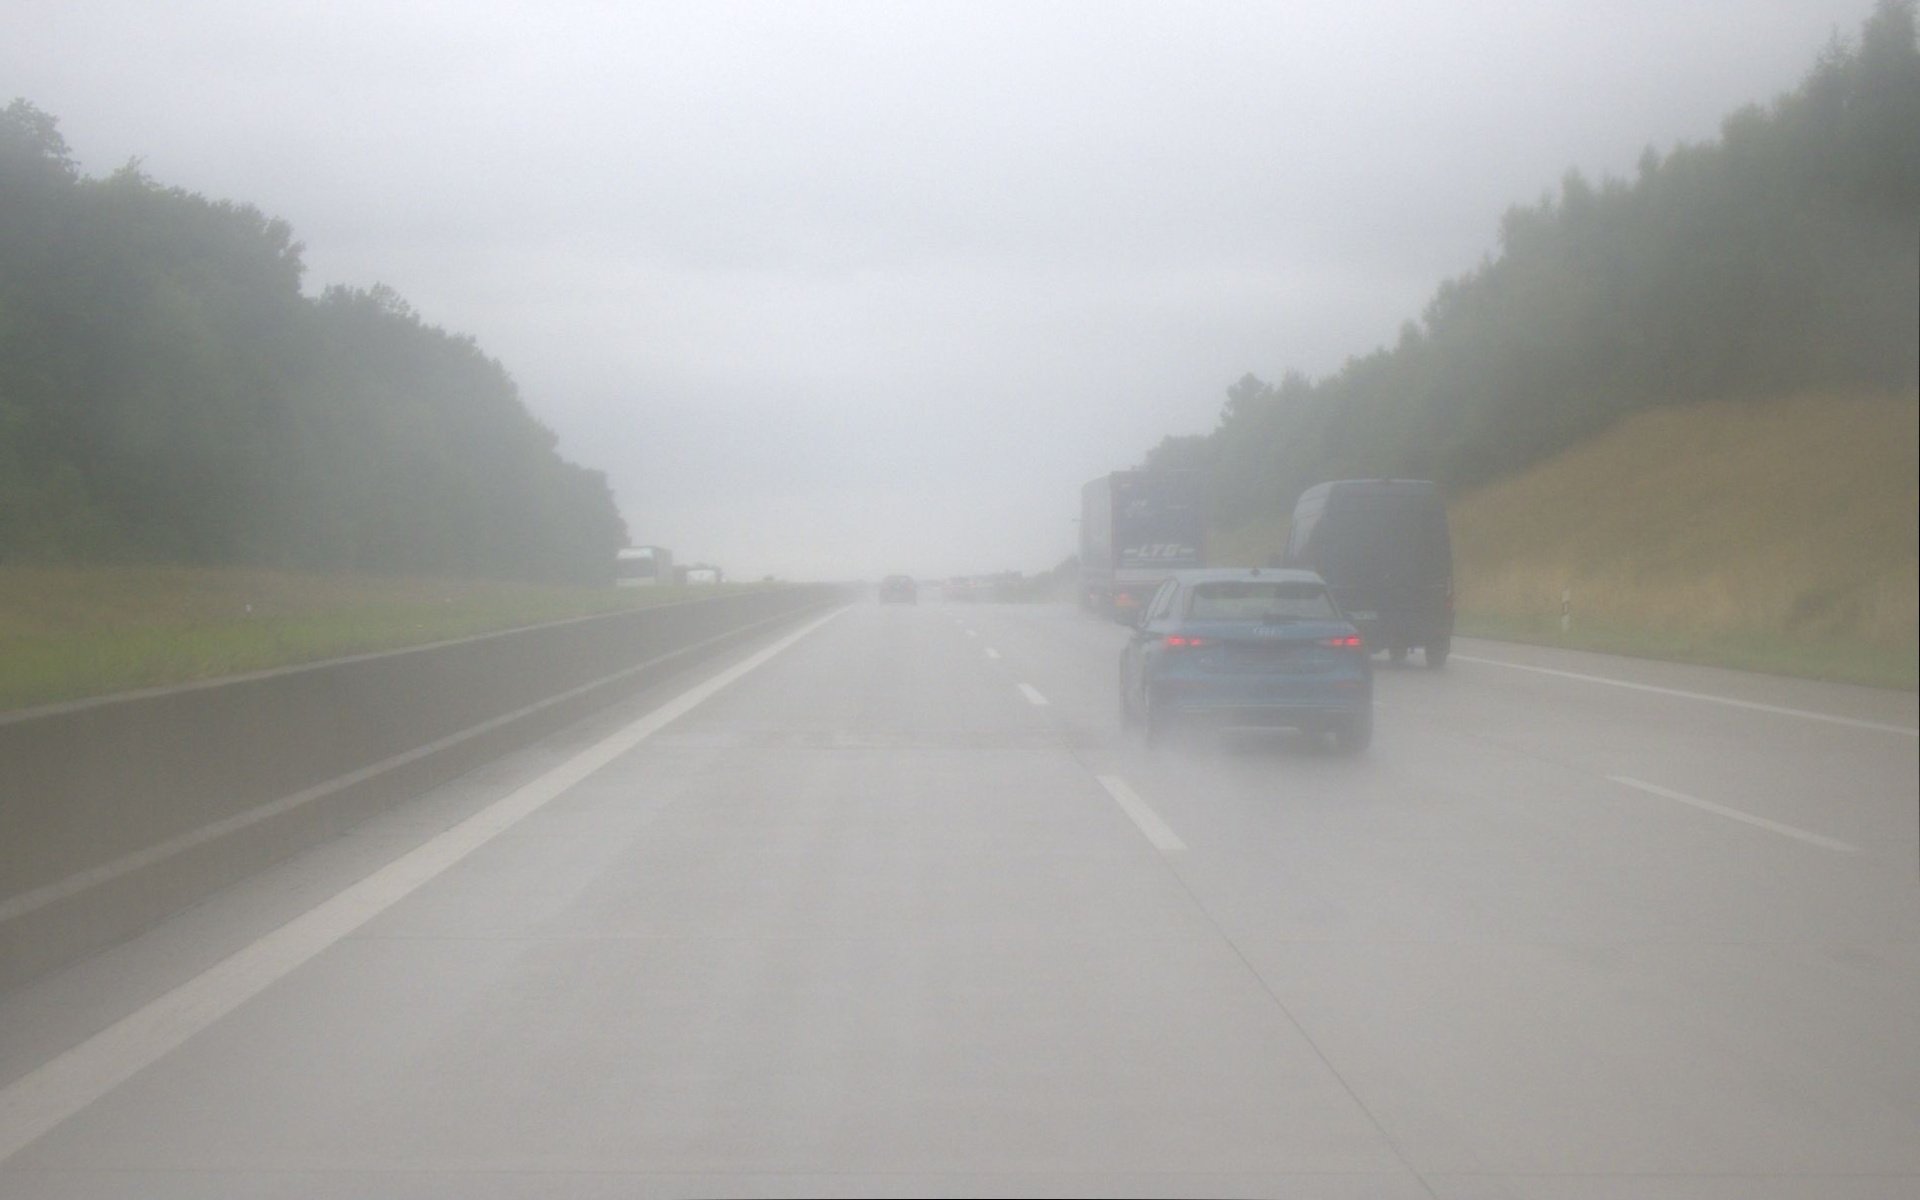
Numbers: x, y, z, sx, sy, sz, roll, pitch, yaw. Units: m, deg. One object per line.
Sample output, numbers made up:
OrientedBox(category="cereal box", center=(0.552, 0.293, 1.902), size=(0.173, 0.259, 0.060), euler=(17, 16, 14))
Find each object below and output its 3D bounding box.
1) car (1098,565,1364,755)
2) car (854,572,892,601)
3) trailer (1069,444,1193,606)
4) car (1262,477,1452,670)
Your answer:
OrientedBox(category="car", center=(2.202, 0.502, 29.042), size=(1.729, 1.454, 4.672), euler=(-1, -1, -2))
OrientedBox(category="car", center=(-4.053, -0.646, 160.290), size=(1.729, 1.326, 4.430), euler=(0, 0, -2))
OrientedBox(category="trailer", center=(4.887, -2.017, 101.282), size=(2.706, 4.365, 15.204), euler=(1, 0, -1))
OrientedBox(category="car", center=(5.788, -0.399, 50.900), size=(1.941, 2.650, 6.586), euler=(1, 1, -1))
